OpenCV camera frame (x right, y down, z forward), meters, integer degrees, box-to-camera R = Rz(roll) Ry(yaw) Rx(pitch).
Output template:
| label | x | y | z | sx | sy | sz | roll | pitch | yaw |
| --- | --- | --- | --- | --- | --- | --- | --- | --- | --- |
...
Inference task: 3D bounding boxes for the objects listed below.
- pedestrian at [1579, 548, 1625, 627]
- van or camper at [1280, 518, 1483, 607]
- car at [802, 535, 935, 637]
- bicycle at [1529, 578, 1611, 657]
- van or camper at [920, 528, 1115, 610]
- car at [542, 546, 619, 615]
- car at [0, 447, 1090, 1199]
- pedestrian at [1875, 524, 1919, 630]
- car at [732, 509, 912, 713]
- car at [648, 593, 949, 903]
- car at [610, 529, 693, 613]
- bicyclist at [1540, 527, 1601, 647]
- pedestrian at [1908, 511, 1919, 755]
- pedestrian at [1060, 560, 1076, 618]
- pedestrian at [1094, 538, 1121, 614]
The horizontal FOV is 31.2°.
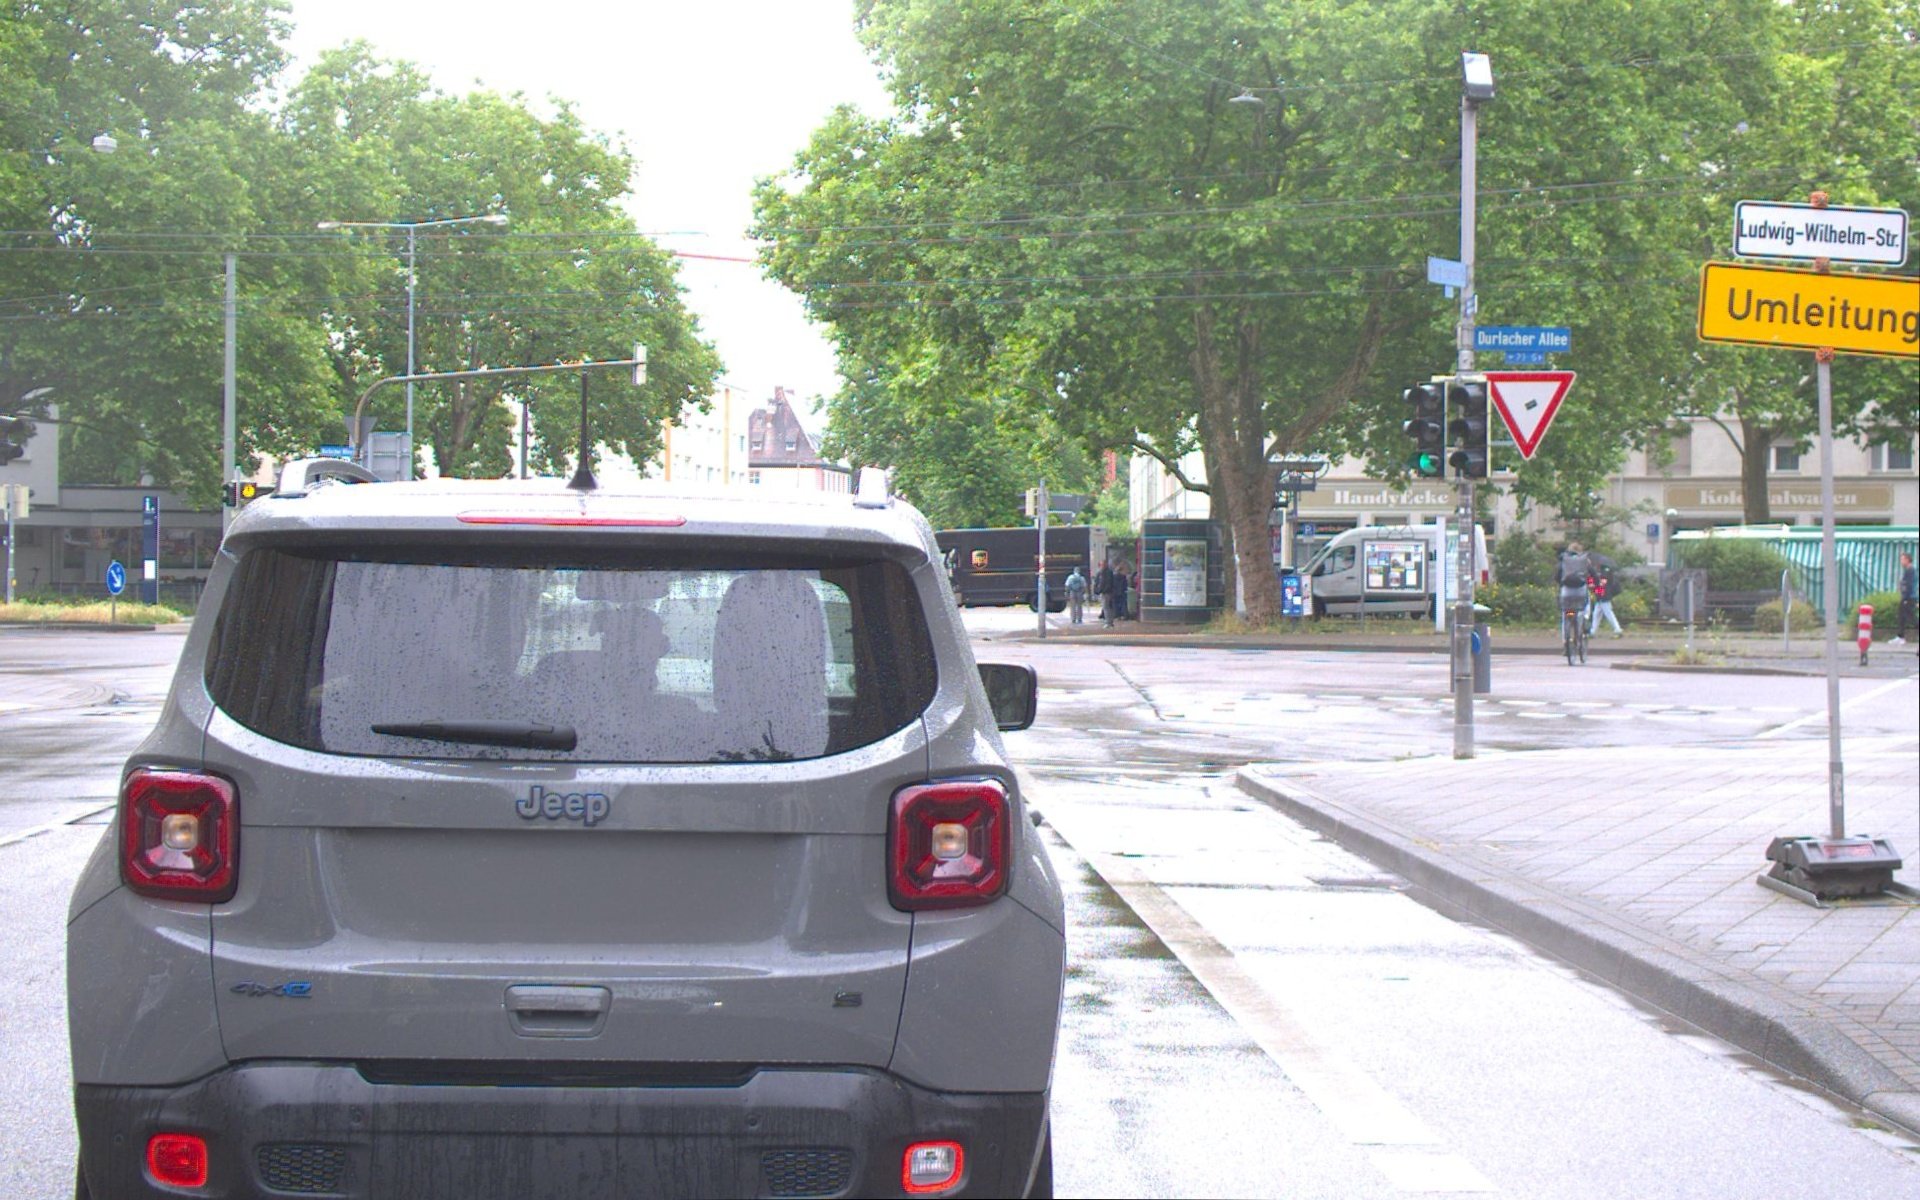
| label | x | y | z | sx | sy | sz | roll | pitch | yaw |
| --- | --- | --- | --- | --- | --- | --- | --- | --- | --- |
| pedestrian | 12.675 | -0.243 | 67.871 | 0.674 | 1.548 | 0.760 | 1 | -1 | 27 |
| van or camper | 11.362 | -1.026 | 92.894 | 5.259 | 2.307 | 2.090 | 1 | 1 | 3 |
| car | -1.138 | -0.192 | 44.046 | 1.593 | 1.247 | 3.575 | 0 | 1 | 0 |
| bicycle | 8.323 | 0.222 | 46.851 | 0.692 | 1.018 | 2.655 | 0 | 1 | 19 |
| van or camper | 2.044 | -1.121 | 122.963 | 6.536 | 2.902 | 2.491 | 0 | 1 | 26 |
| car | -9.310 | -0.495 | 84.529 | 1.813 | 1.665 | 3.921 | 0 | 1 | -5 |
| car | -0.743 | 0.569 | 7.572 | 1.775 | 1.681 | 3.848 | -1 | 1 | -2 |
| pedestrian | 17.908 | -0.442 | 65.523 | 0.806 | 2.007 | 0.589 | 0 | 1 | 26 |
| car | -1.408 | 0.085 | 35.929 | 1.770 | 2.007 | 4.000 | 0 | 1 | -1 |
| car | -0.769 | 0.668 | 17.278 | 1.363 | 1.371 | 3.312 | 0 | 1 | -1 |
| car | -6.550 | -0.621 | 73.097 | 1.721 | 1.733 | 3.730 | 0 | 1 | -5 |
| bicyclist | 8.327 | -0.183 | 46.868 | 0.687 | 1.612 | 0.883 | 0 | 1 | 19 |
| pedestrian | 7.348 | 0.228 | 25.101 | 0.786 | 1.753 | 0.945 | 0 | 1 | 14 |
| pedestrian | 3.195 | -0.327 | 102.033 | 0.458 | 1.698 | 0.424 | 0 | 1 | 0 |
| pedestrian | 3.892 | -0.639 | 90.787 | 0.651 | 2.007 | 0.482 | 0 | 1 | 12 |
